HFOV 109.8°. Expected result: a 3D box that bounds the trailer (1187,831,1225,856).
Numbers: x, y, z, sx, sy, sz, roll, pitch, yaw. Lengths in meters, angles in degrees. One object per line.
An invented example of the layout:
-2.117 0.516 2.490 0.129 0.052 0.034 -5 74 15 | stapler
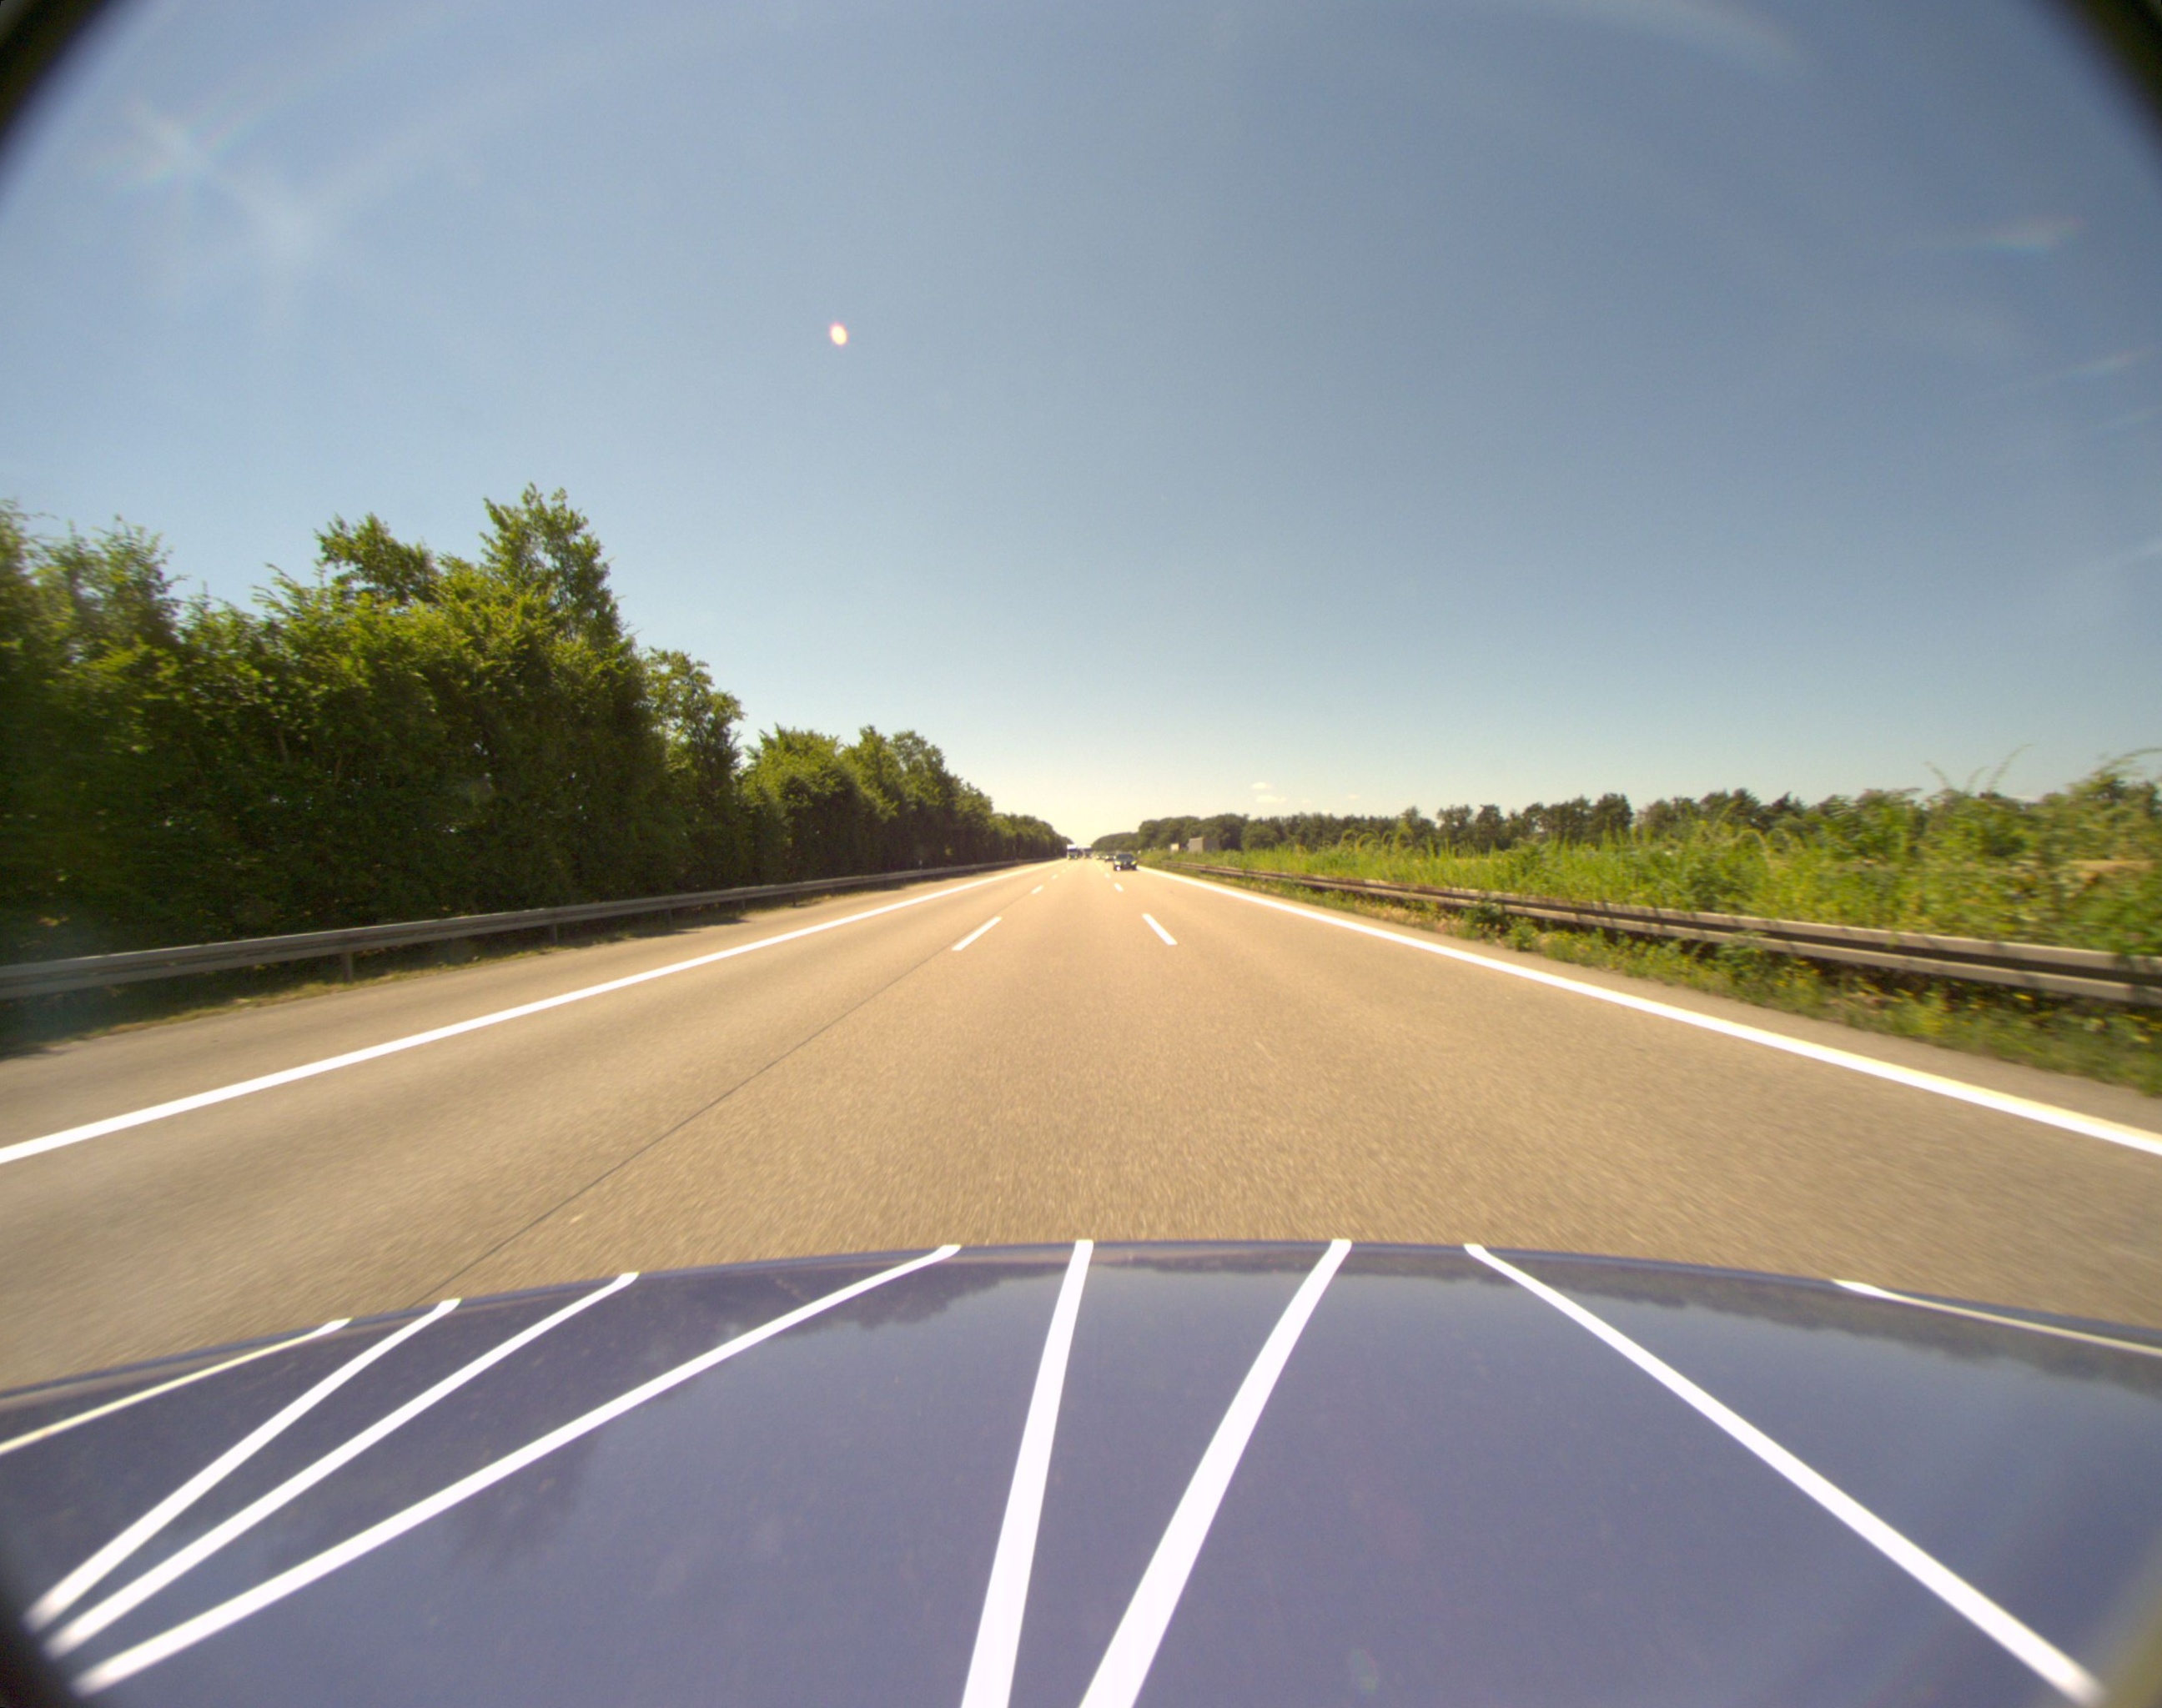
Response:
19.749 -1.646 121.484 3.358 3.677 14.380 -2 0 -1 | trailer

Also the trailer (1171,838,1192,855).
22.873 -1.734 173.624 3.117 3.677 14.382 -2 0 1 | trailer

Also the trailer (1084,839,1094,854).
2.508 -2.264 235.883 2.863 4.247 11.471 -2 0 0 | trailer

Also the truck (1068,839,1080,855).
-1.934 -1.873 208.581 2.863 4.247 6.863 -2 0 -1 | truck

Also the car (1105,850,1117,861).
4.845 0.195 122.641 1.806 1.774 4.000 -1 1 1 | car

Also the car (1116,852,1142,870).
3.937 0.553 63.300 1.811 1.399 3.999 -3 0 -1 | car

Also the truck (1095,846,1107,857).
4.742 -0.559 178.287 2.576 2.461 5.614 -2 0 0 | truck

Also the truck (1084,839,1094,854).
2.478 -2.242 229.384 2.863 4.247 5.411 -2 0 0 | truck
